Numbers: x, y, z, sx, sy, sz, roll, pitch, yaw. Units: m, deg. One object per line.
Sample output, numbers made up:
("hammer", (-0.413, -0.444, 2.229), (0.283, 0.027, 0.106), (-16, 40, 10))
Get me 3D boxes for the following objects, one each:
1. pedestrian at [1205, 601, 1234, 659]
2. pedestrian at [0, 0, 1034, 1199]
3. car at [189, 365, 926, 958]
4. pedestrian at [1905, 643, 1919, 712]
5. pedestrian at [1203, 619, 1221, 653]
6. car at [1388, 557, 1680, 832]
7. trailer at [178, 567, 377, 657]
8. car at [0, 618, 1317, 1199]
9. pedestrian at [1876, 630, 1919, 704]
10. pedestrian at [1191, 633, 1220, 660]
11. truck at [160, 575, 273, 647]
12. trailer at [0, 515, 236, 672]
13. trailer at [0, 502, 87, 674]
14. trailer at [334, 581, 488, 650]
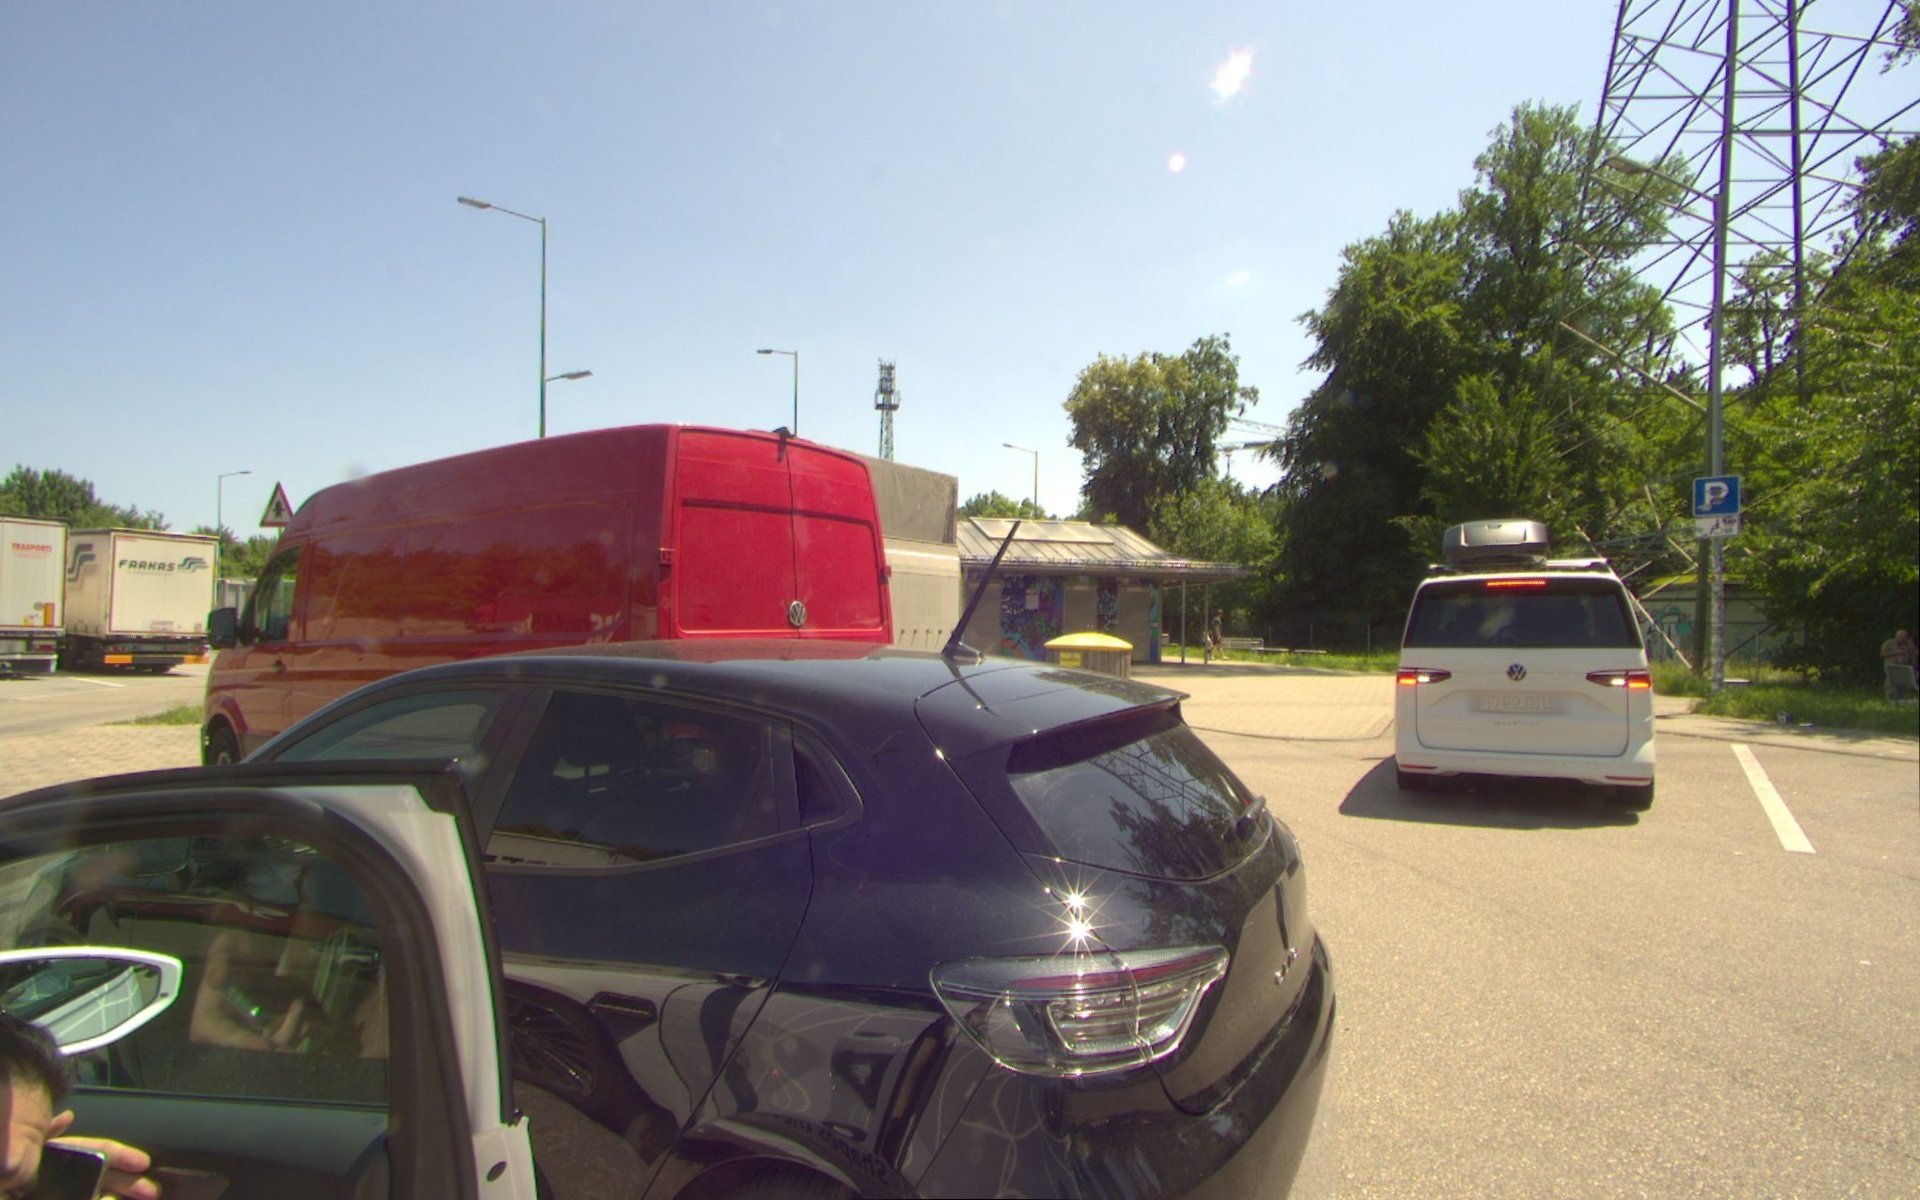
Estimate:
("pedestrian", (9.347, 1.093, 36.043), (0.767, 2.067, 0.642), (1, -1, -31))
("pedestrian", (-0.467, 0.589, 0.871), (0.878, 1.865, 0.618), (-1, -1, 35))
("car", (-3.353, 0.308, 7.357), (6.310, 2.731, 2.060), (0, -1, 37))
("pedestrian", (17.190, 1.347, 17.478), (0.876, 1.192, 0.666), (-1, -2, 32))
("pedestrian", (11.644, 1.668, 46.284), (0.634, 1.547, 0.564), (0, -1, -17))
("car", (5.250, 0.718, 9.510), (1.882, 1.937, 4.548), (-1, -1, 27))
("trailer", (-32.390, 0.479, 47.135), (13.530, 3.764, 2.834), (1, -2, 34))
("car", (-1.060, 0.833, 2.906), (3.757, 1.501, 1.736), (0, -1, 27))
("pedestrian", (18.678, 1.315, 19.846), (0.660, 1.422, 0.647), (-1, -1, 33))
("pedestrian", (8.736, 1.658, 35.652), (0.767, 0.960, 0.643), (1, -2, -31))
("truck", (-37.699, 0.563, 50.734), (5.405, 3.407, 2.847), (1, -2, 34))
("trailer", (-27.662, -0.194, 31.625), (13.523, 4.185, 2.835), (1, -2, 33))
("trailer", (-28.970, -0.372, 28.144), (13.523, 4.185, 2.835), (1, -2, 33))
("trailer", (-36.056, 0.906, 65.427), (13.530, 4.101, 2.833), (1, -2, 34))
